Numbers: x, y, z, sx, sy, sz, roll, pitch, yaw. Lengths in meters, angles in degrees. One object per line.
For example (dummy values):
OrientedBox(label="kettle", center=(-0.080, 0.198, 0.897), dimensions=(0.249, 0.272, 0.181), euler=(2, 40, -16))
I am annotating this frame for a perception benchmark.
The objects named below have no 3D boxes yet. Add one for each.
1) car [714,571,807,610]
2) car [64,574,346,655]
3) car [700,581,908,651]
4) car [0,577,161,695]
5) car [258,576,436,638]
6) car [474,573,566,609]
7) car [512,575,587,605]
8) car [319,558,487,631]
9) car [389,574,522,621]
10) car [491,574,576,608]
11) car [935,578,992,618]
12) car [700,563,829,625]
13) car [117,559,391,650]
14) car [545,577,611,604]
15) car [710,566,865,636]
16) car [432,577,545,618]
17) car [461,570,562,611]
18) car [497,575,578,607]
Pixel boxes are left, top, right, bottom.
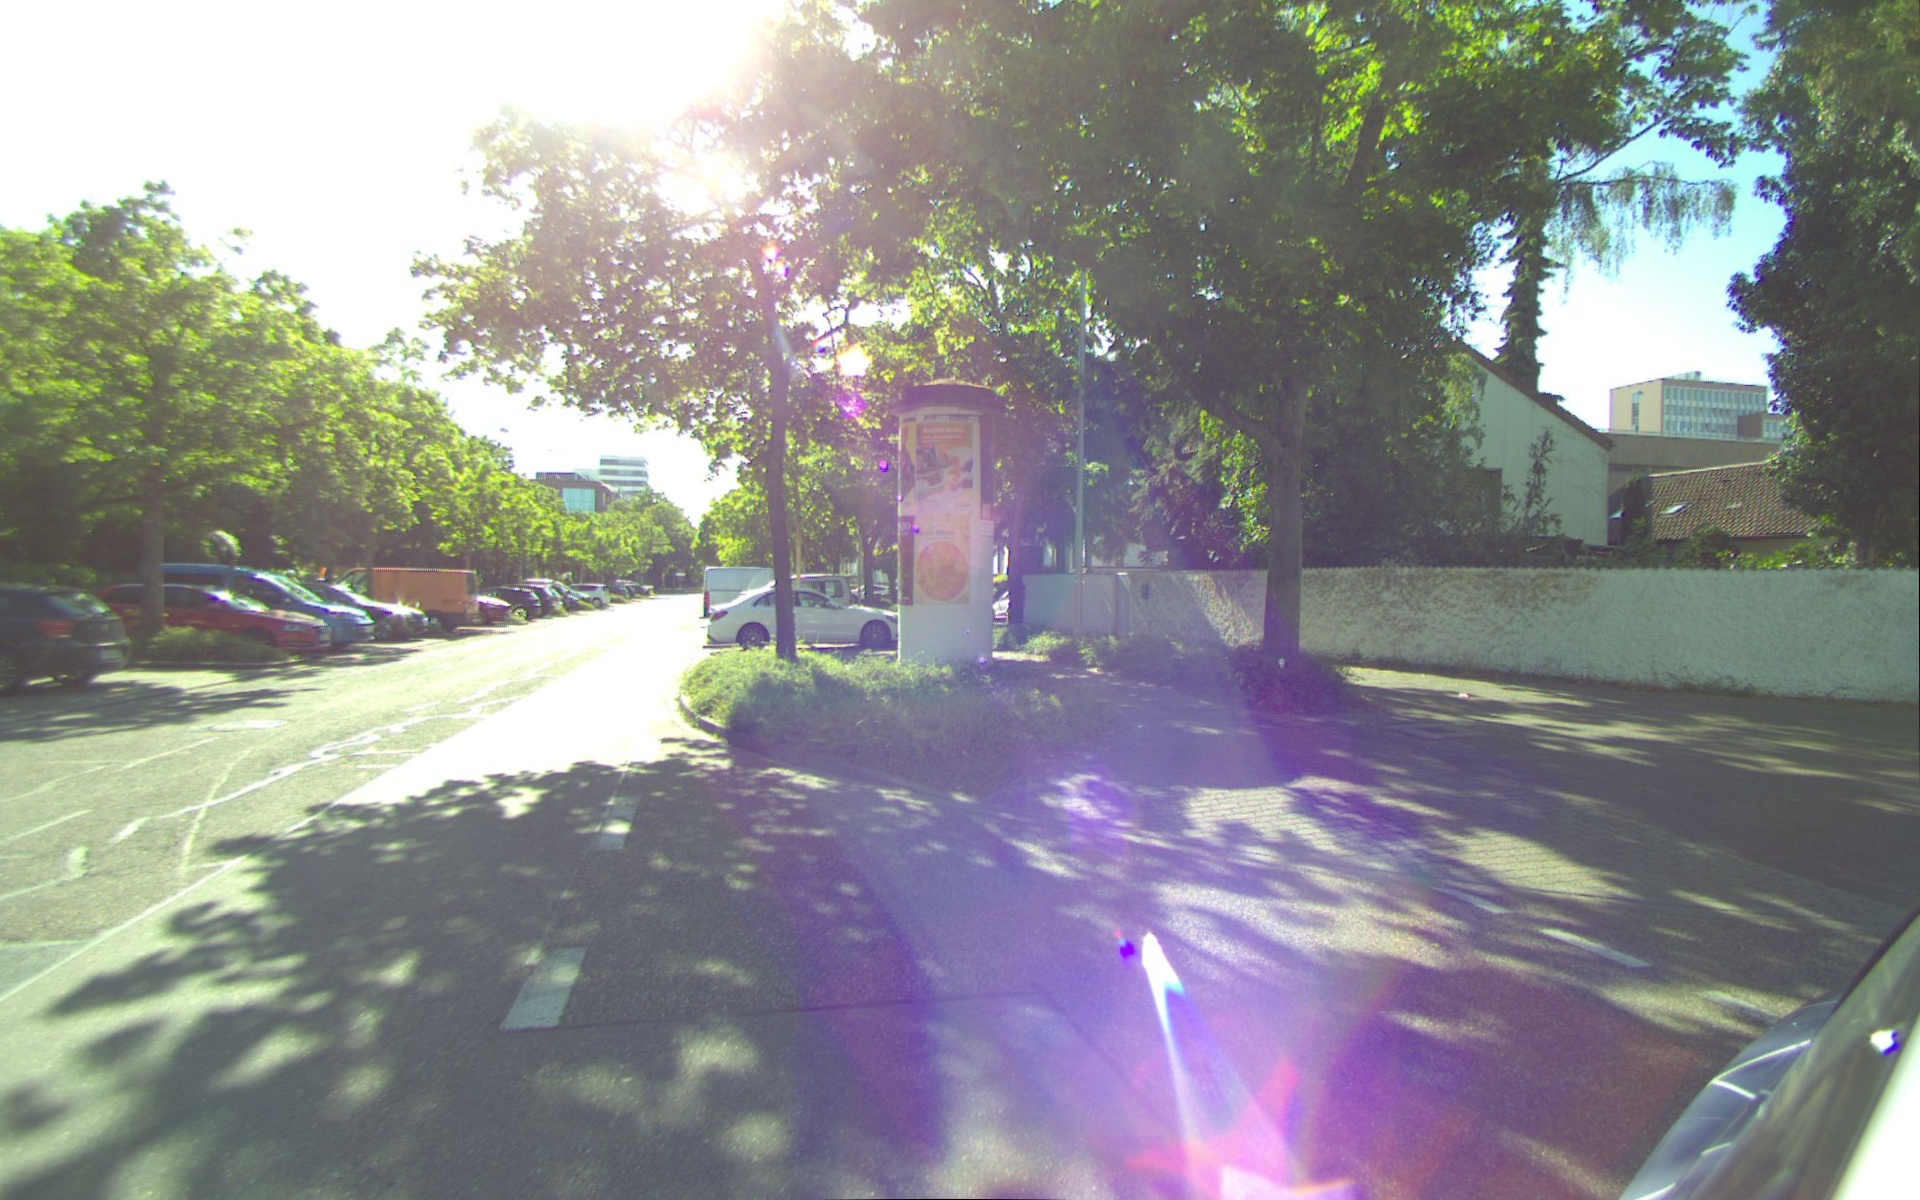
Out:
OrientedBox(label="car", center=(-10.033, -0.482, 50.784), dimensions=(4.470, 1.853, 2.004), euler=(1, 0, -14))
OrientedBox(label="car", center=(-14.794, 0.279, 20.089), dimensions=(4.080, 1.423, 1.833), euler=(2, 1, -15))
OrientedBox(label="car", center=(-3.646, 0.318, 23.641), dimensions=(4.590, 1.423, 1.833), euler=(-2, 1, -12))
OrientedBox(label="car", center=(-13.303, 0.411, 13.223), dimensions=(4.080, 1.423, 1.833), euler=(2, 1, -15))
OrientedBox(label="car", center=(-16.345, 0.172, 27.178), dimensions=(3.707, 1.492, 1.773), euler=(2, 1, -15))
OrientedBox(label="car", center=(-23.247, -0.492, 53.583), dimensions=(4.170, 1.737, 1.978), euler=(2, 1, -15))
OrientedBox(label="car", center=(-26.117, -0.645, 64.452), dimensions=(4.170, 1.737, 1.978), euler=(2, 1, -15))
OrientedBox(label="car", center=(-17.250, -0.180, 31.564), dimensions=(4.170, 2.057, 1.978), euler=(2, 1, -15))
OrientedBox(label="car", center=(-19.173, -0.101, 38.643), dimensions=(4.170, 1.591, 1.978), euler=(2, 1, -15))
OrientedBox(label="car", center=(-24.157, -0.514, 57.470), dimensions=(4.170, 1.737, 1.978), euler=(2, 1, -15))
OrientedBox(label="car", center=(0.112, -0.137, 44.843), dimensions=(1.798, 1.634, 4.151), euler=(2, 1, -10))
OrientedBox(label="car", center=(-7.997, -0.244, 41.350), dimensions=(5.027, 2.409, 2.004), euler=(1, 0, -14))
OrientedBox(label="car", center=(-15.421, 0.093, 22.385), dimensions=(4.566, 1.794, 1.833), euler=(2, 1, -15))
OrientedBox(label="car", center=(-27.092, -0.660, 71.928), dimensions=(4.170, 1.737, 1.978), euler=(2, 1, -15))
OrientedBox(label="car", center=(-5.335, 0.047, 31.129), dimensions=(4.538, 2.016, 2.004), euler=(1, 0, -14))
OrientedBox(label="car", center=(-20.670, -0.125, 44.530), dimensions=(4.170, 1.634, 1.978), euler=(2, 1, -15))
OrientedBox(label="car", center=(-21.684, -0.468, 49.105), dimensions=(4.170, 1.775, 1.978), euler=(2, 1, -15))
OrientedBox(label="car", center=(-25.016, -0.533, 60.078), dimensions=(4.170, 1.737, 1.978), euler=(2, 1, -15))
